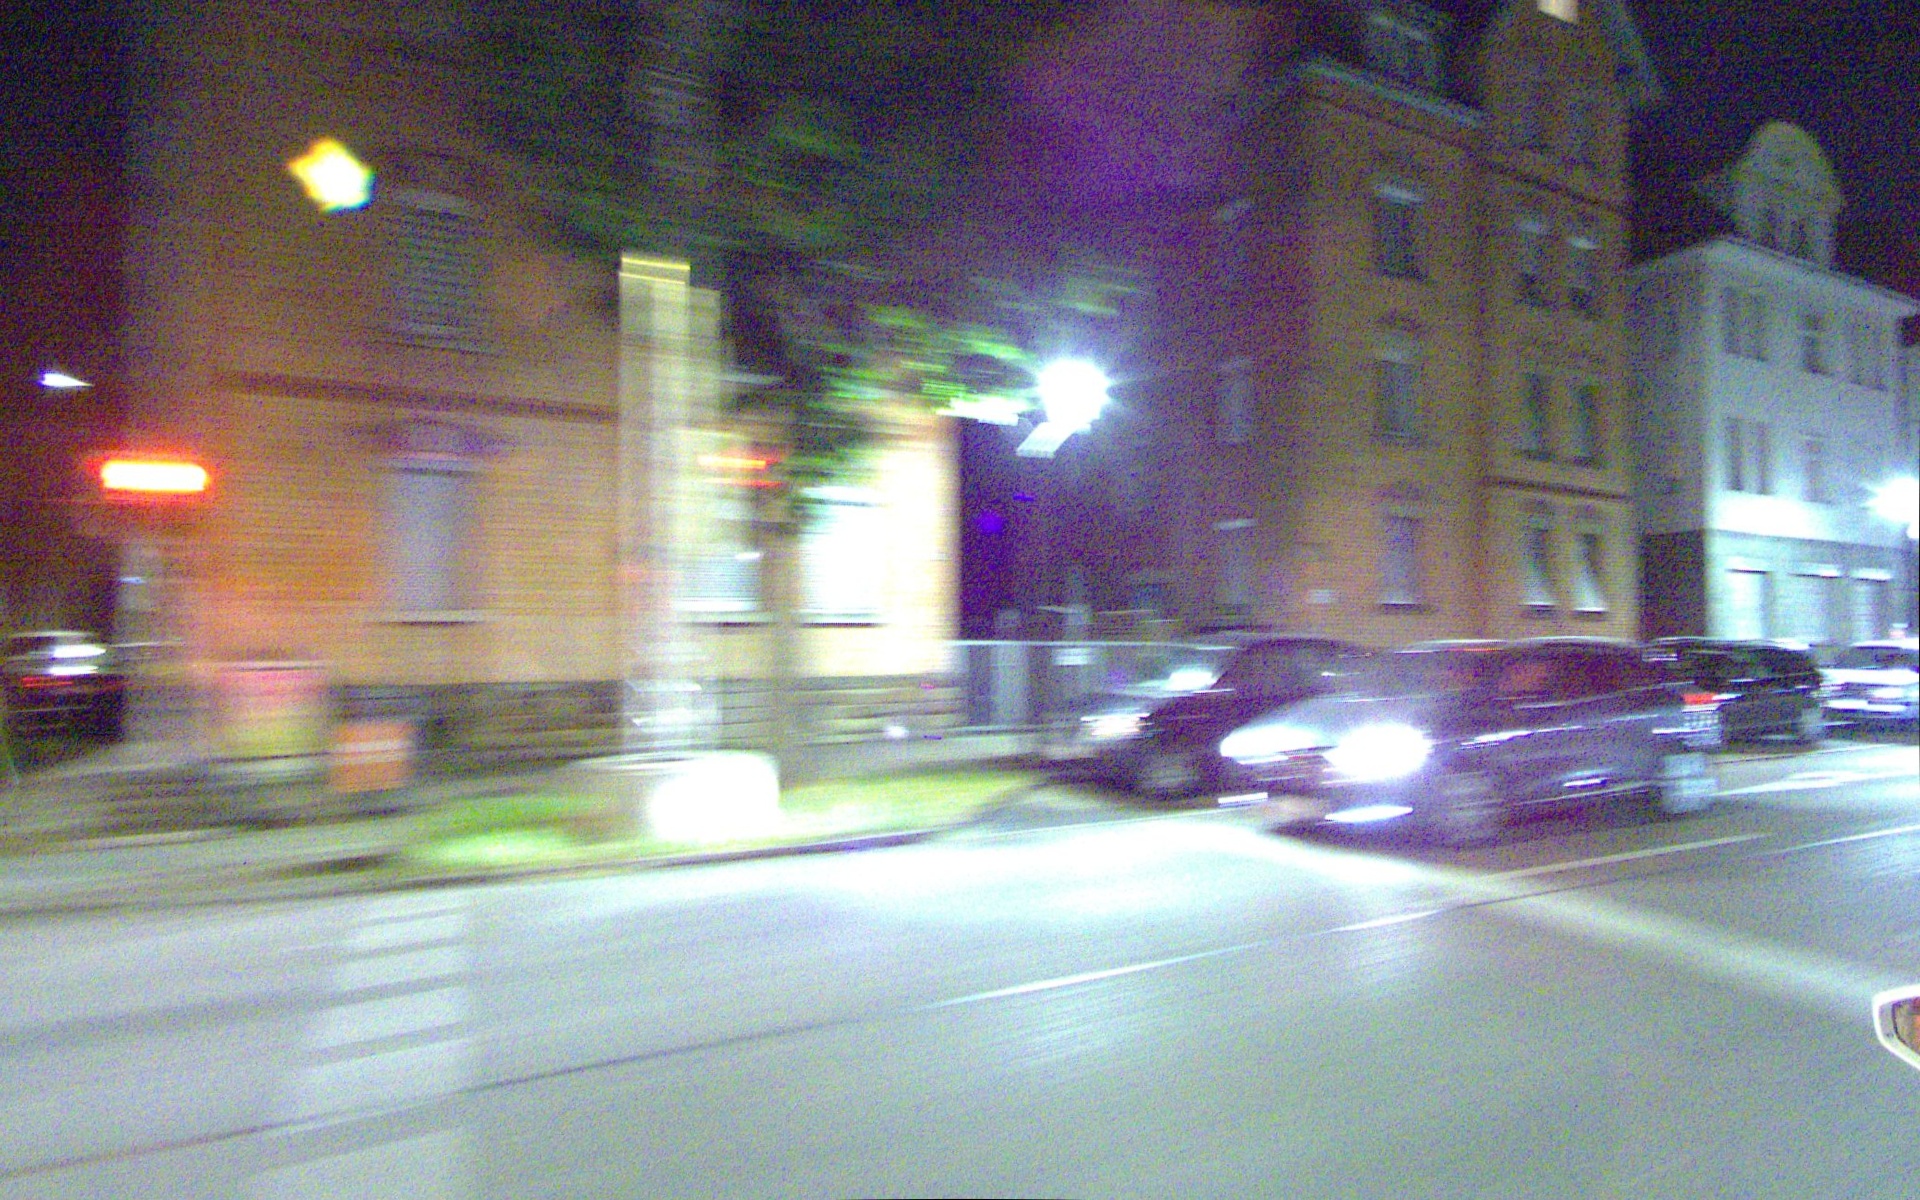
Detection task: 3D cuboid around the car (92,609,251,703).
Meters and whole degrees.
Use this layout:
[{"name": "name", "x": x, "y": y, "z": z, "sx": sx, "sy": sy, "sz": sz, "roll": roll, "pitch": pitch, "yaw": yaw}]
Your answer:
[{"name": "car", "x": -16.727, "y": 1.170, "z": 21.539, "sx": 1.877, "sy": 1.799, "sz": 3.973, "roll": 1, "pitch": -3, "yaw": -27}]

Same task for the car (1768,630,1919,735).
[{"name": "car", "x": 15.654, "y": 1.300, "z": 16.860, "sx": 3.948, "sy": 1.511, "sz": 1.778, "roll": 1, "pitch": 0, "yaw": -27}]

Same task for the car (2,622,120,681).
[{"name": "car", "x": -29.460, "y": 1.677, "z": 33.053, "sx": 1.877, "sy": 1.799, "sz": 3.973, "roll": 1, "pitch": -3, "yaw": -27}]

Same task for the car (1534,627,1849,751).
[{"name": "car", "x": 10.483, "y": 1.180, "z": 14.383, "sx": 4.269, "sy": 1.511, "sz": 1.779, "roll": 1, "pitch": 0, "yaw": -24}]

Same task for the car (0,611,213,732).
[{"name": "car", "x": -14.346, "y": 1.146, "z": 17.131, "sx": 1.877, "sy": 1.799, "sz": 3.973, "roll": 1, "pitch": -3, "yaw": -27}]

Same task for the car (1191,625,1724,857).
[{"name": "car", "x": 3.960, "y": 0.968, "z": 7.967, "sx": 3.947, "sy": 1.448, "sz": 1.710, "roll": 1, "pitch": -4, "yaw": -26}]

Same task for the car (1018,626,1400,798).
[{"name": "car", "x": 2.601, "y": 1.069, "z": 10.539, "sx": 3.645, "sy": 1.511, "sz": 1.589, "roll": 1, "pitch": 0, "yaw": -22}]
